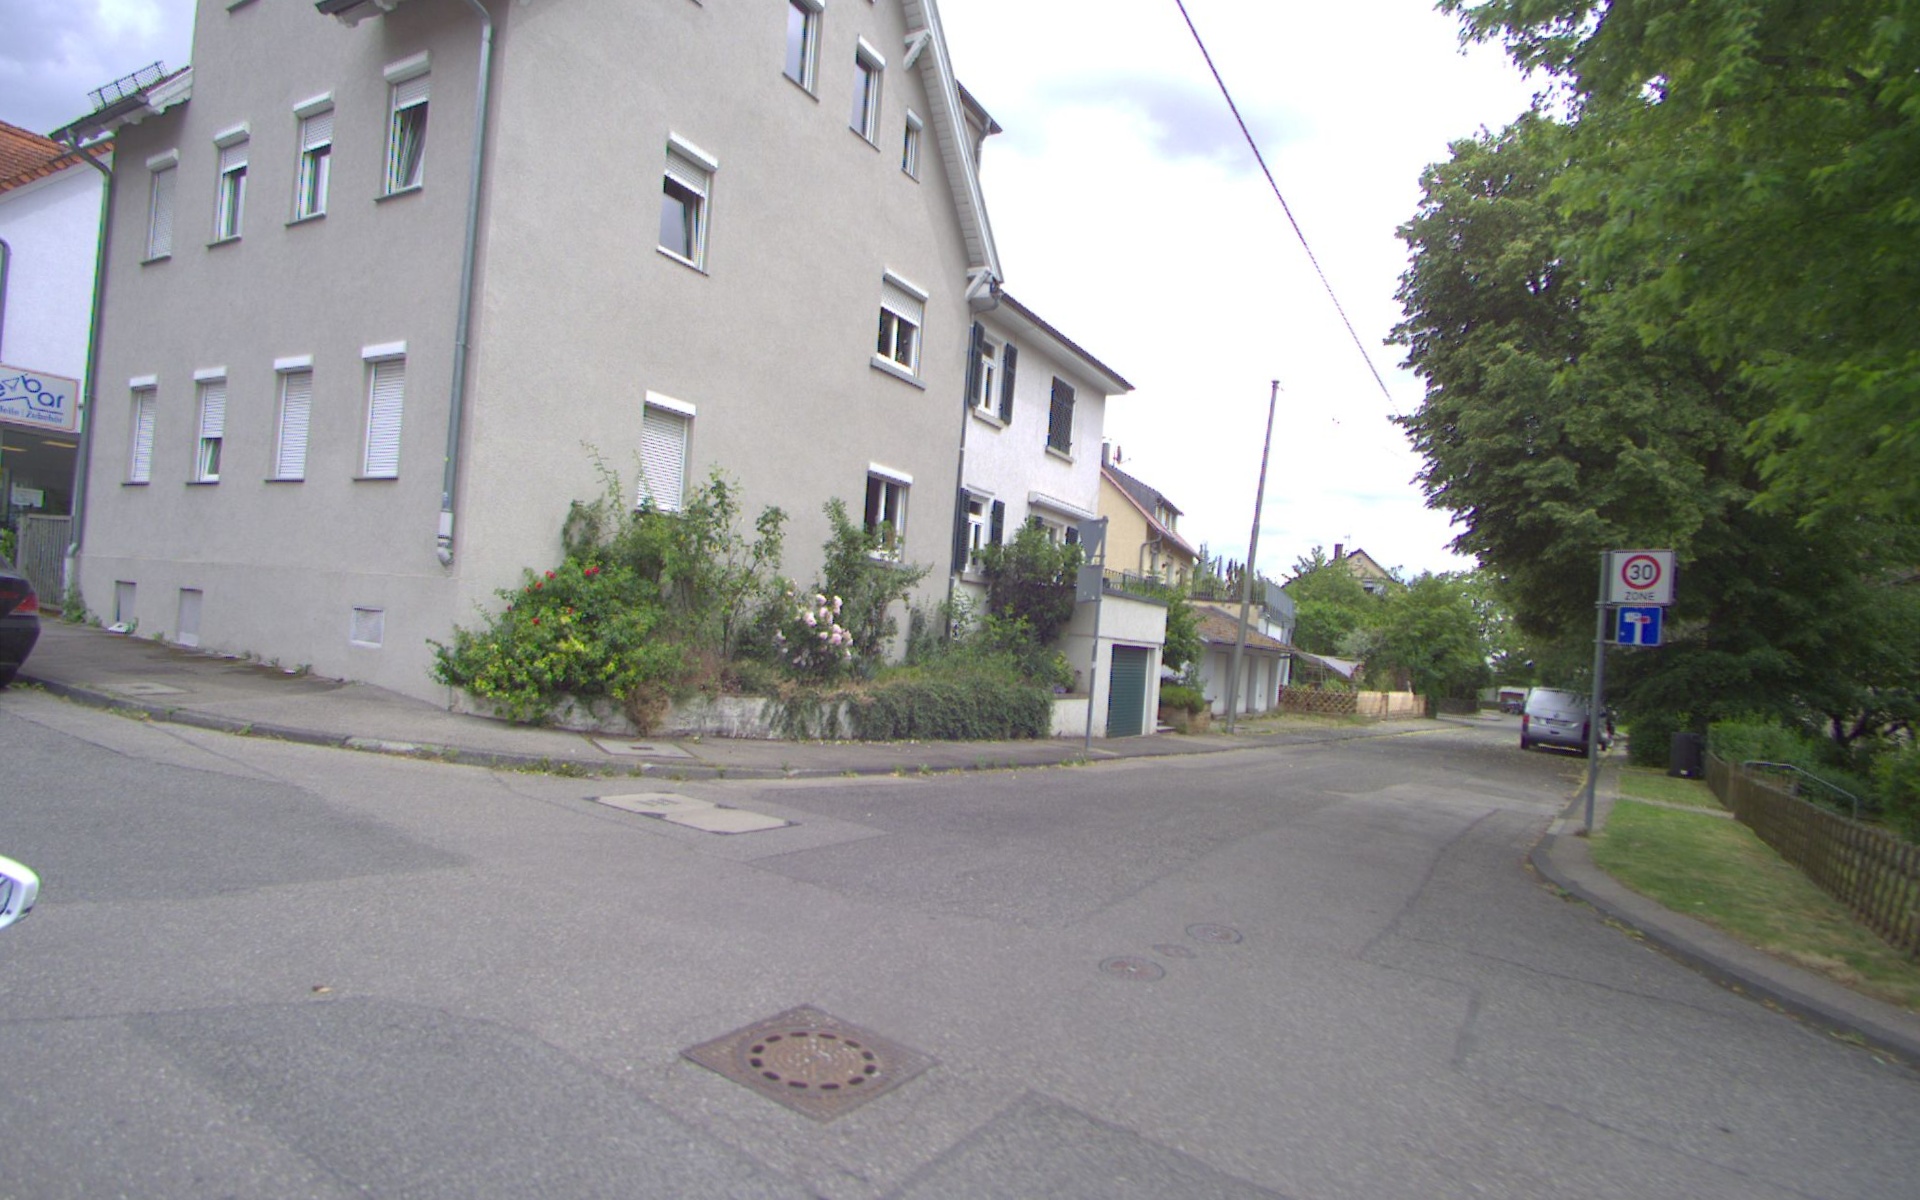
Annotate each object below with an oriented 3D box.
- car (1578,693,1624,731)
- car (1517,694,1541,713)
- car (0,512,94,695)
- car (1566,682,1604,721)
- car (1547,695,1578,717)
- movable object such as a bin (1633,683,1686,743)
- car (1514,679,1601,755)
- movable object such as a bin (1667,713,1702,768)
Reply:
[{"bbox_3d":[36.161,6.272,56.814,1.967,1.815,3.993,5,-2,32],"label":"car"},{"bbox_3d":[53.556,9.735,94.726,1.847,1.570,3.994,5,-2,30],"label":"car"},{"bbox_3d":[-10.421,-0.197,9.385,4.810,1.535,1.998,5,-3,30],"label":"car"},{"bbox_3d":[44.898,7.268,72.324,1.966,2.438,3.994,5,-1,30],"label":"car"},{"bbox_3d":[50.320,8.847,84.018,1.966,1.570,3.994,5,-2,30],"label":"car"},{"bbox_3d":[25.093,4.028,36.107,1.353,1.954,1.199,5,-1,33],"label":"movable object such as a bin"},{"bbox_3d":[18.598,3.573,31.226,1.968,1.973,3.990,5,-2,34],"label":"car"},{"bbox_3d":[16.363,3.169,22.733,0.513,1.171,0.427,6,0,31],"label":"movable object such as a bin"}]
